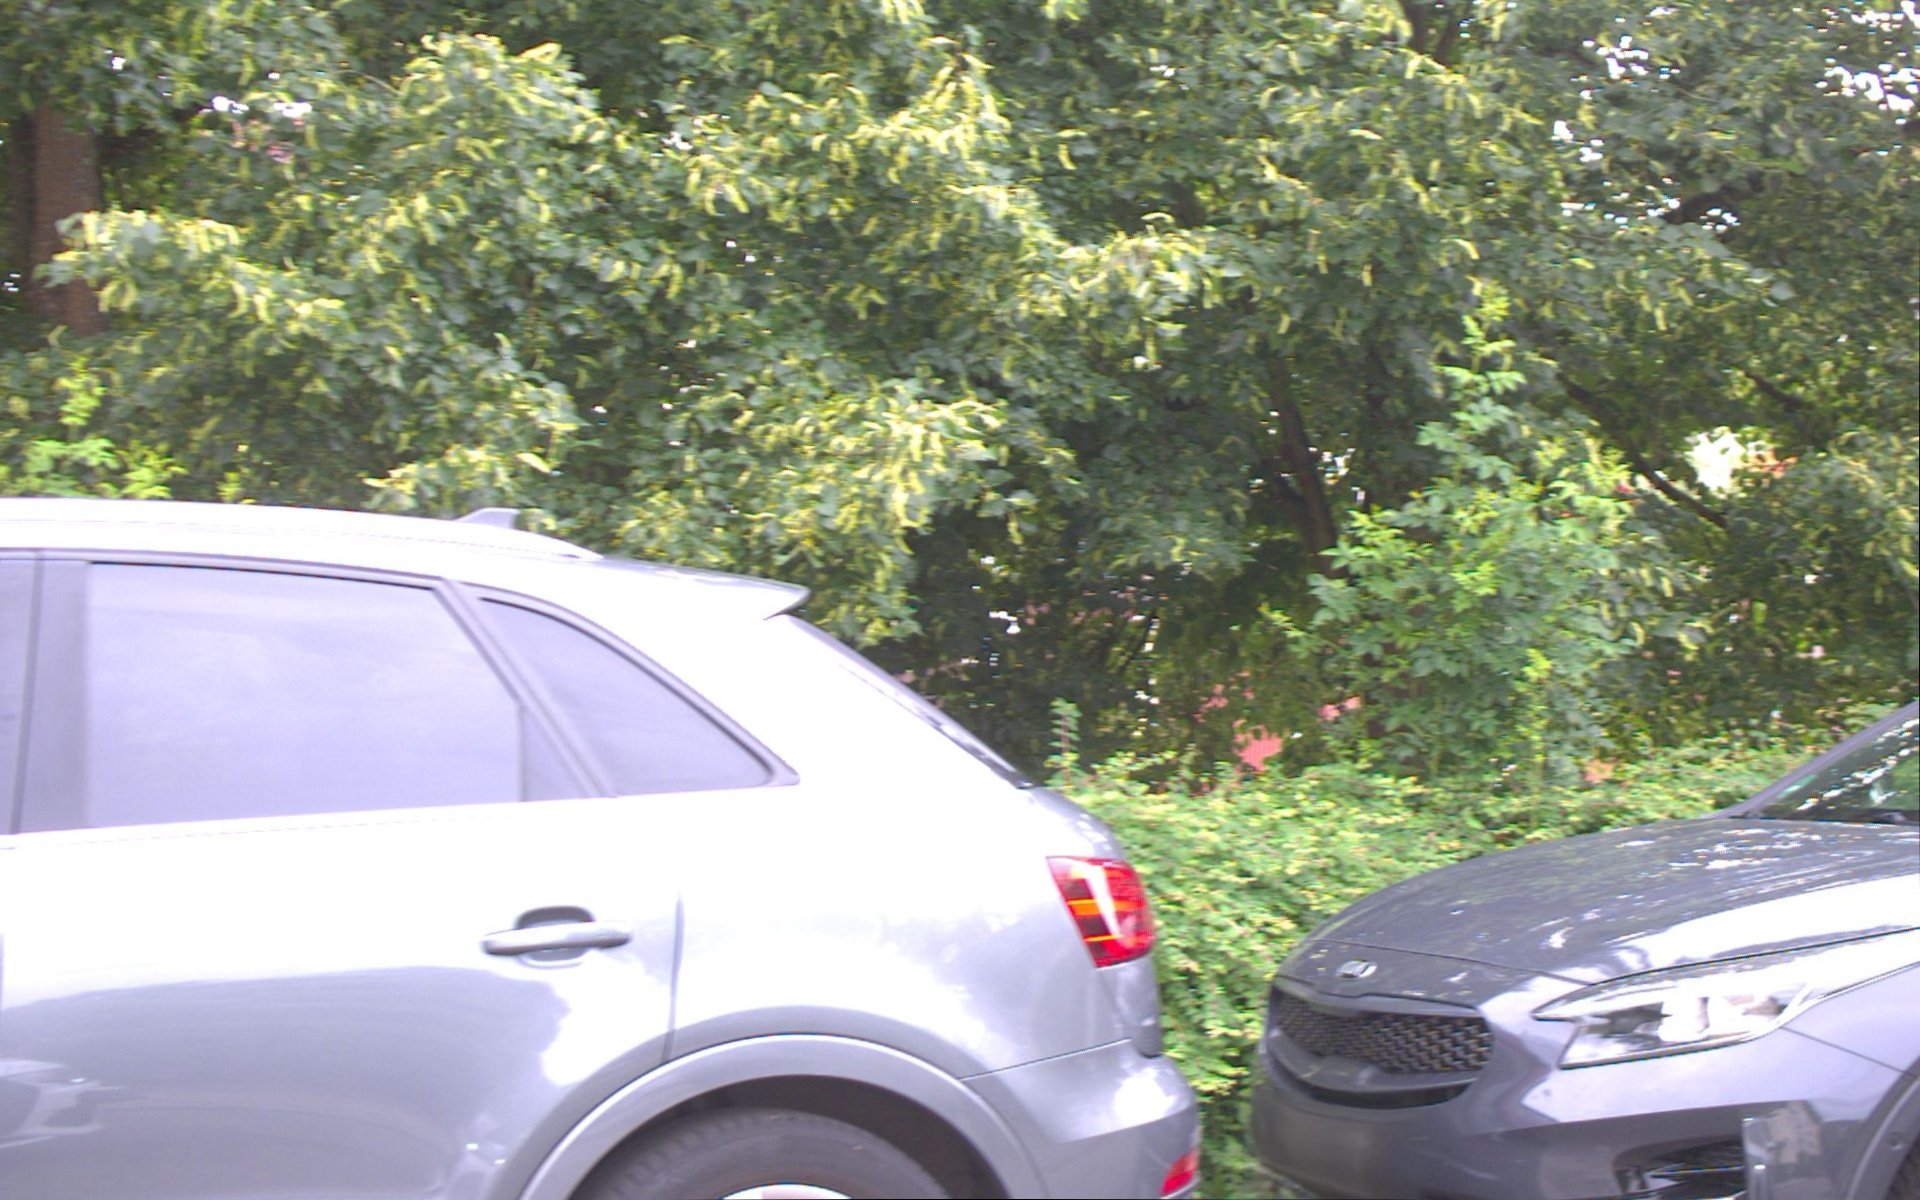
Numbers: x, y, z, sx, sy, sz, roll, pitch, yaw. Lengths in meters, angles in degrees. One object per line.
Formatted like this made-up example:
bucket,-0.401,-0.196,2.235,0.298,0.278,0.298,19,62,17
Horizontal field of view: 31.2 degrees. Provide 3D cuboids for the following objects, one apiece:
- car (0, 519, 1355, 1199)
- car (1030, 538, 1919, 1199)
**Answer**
car,-1.720,0.678,4.936,4.236,1.526,1.748,0,-1,-24
car,2.402,0.676,6.439,4.180,1.526,1.748,0,-1,-19
